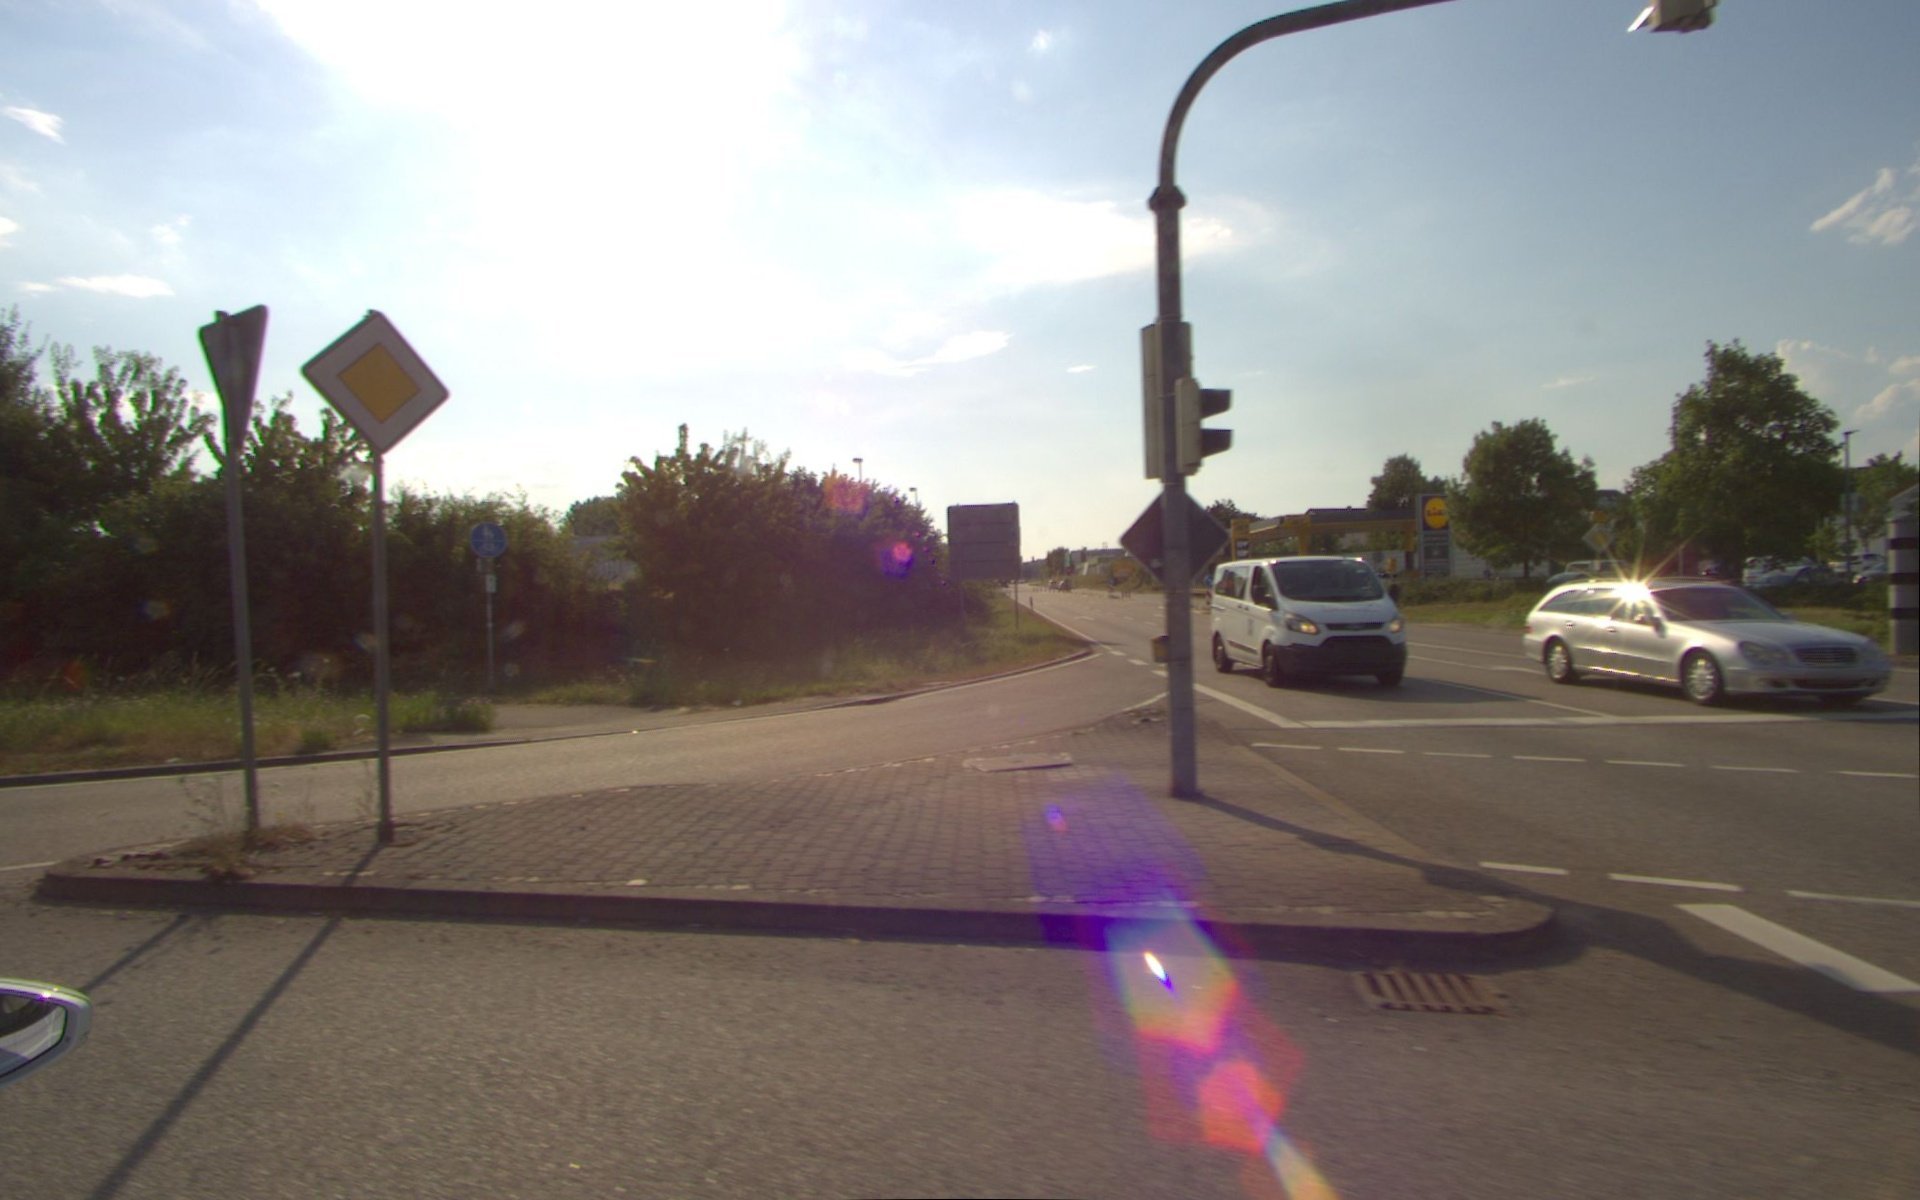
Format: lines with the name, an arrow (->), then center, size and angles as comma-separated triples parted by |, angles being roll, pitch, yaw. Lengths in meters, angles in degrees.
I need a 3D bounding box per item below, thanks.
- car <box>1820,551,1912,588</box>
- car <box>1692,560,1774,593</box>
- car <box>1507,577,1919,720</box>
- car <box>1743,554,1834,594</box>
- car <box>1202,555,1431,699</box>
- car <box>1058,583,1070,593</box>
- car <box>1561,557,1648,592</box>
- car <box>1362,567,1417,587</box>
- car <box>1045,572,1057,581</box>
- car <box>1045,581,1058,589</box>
car -> 53.678, -1.794, 59.351 | 4.848, 2.040, 1.995 | 1, 0, -20
car -> 51.438, -1.517, 66.631 | 4.848, 2.040, 1.995 | 1, 0, -20
car -> 9.500, 0.529, 13.272 | 1.826, 1.533, 4.952 | 0, 0, 1
car -> 43.746, -1.329, 52.887 | 4.584, 2.040, 1.960 | 0, 0, -25
car -> 5.465, 0.303, 16.139 | 1.869, 1.974, 4.815 | 0, 2, -1
car -> 15.743, -1.874, 151.499 | 1.525, 1.468, 3.049 | 0, 0, -1
car -> 40.034, -1.559, 62.170 | 4.848, 2.040, 1.995 | 1, 0, -20
car -> 34.399, -1.837, 80.333 | 2.246, 1.393, 4.857 | 0, -1, -1
car -> 20.447, -5.252, 224.968 | 1.961, 2.040, 3.999 | 0, 0, -3
car -> 16.105, -2.633, 176.170 | 1.712, 1.370, 3.203 | 0, 0, -3
